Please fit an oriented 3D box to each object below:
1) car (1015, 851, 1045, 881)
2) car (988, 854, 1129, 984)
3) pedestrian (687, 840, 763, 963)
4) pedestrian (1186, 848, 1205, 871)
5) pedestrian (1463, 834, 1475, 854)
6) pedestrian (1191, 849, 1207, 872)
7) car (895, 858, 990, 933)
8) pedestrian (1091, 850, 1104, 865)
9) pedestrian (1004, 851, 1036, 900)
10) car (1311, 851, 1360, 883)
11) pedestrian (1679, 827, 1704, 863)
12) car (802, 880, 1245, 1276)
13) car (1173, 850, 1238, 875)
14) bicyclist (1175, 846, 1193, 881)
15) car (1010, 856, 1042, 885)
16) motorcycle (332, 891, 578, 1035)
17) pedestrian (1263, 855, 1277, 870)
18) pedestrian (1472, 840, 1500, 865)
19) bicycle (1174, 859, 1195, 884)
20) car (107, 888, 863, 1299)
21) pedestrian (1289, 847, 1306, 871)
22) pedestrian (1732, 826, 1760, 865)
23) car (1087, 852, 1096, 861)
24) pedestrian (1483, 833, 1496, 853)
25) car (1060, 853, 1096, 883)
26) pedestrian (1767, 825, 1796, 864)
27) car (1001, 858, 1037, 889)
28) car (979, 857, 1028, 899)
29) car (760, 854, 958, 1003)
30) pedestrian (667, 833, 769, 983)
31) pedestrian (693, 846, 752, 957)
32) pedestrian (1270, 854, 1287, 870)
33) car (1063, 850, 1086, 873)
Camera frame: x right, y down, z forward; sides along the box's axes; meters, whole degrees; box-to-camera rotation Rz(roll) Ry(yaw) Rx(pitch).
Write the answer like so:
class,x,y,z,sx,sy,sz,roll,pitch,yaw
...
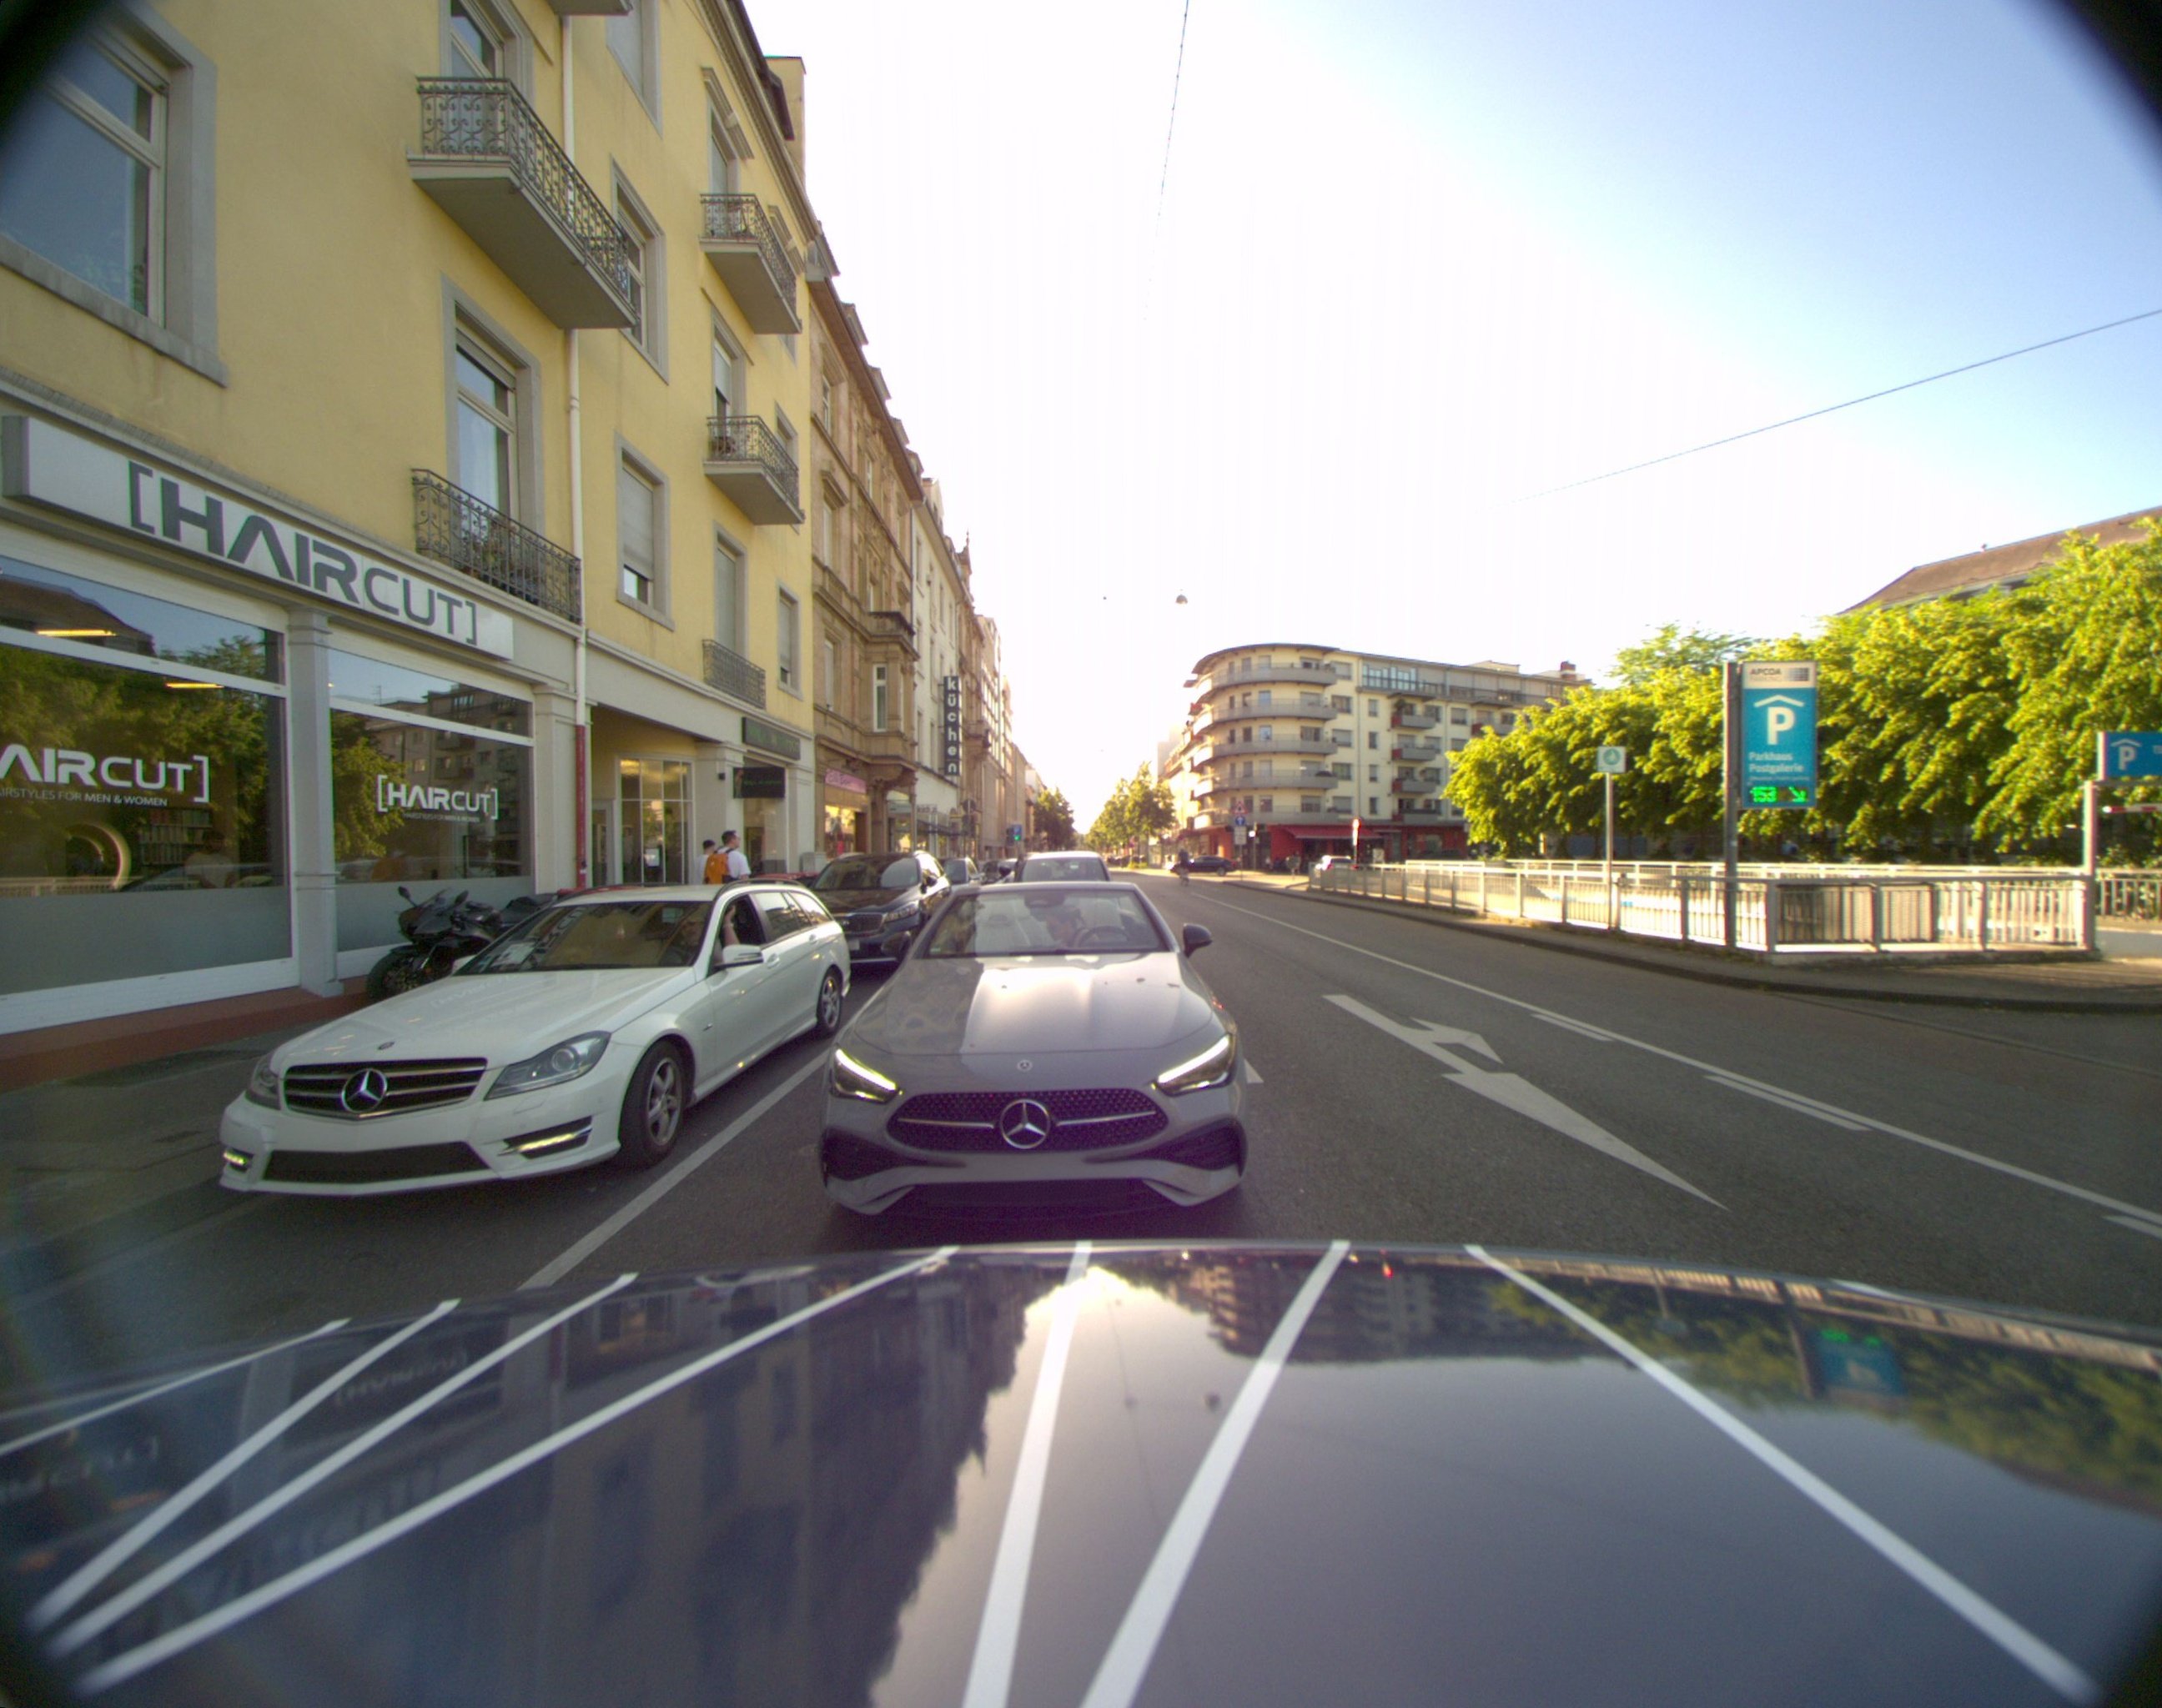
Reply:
class,x,y,z,sx,sy,sz,roll,pitch,yaw
car,-3.158,0.714,47.555,1.695,1.670,3.880,-2,1,-3
car,-0.368,0.893,12.765,1.866,1.658,4.706,-2,1,-2
pedestrian,-5.683,0.729,12.123,0.975,1.866,0.534,-3,1,-31
pedestrian,9.060,0.441,60.104,1.066,1.709,1.083,-1,1,40
pedestrian,36.719,-0.949,71.933,0.685,1.832,0.745,-3,2,-43
pedestrian,9.854,0.525,63.472,0.990,1.908,0.790,-2,1,-12
car,-3.185,0.905,17.997,1.583,1.514,2.998,-2,1,1
pedestrian,2.088,0.405,96.201,1.219,1.826,1.205,-2,1,25
pedestrian,-2.203,0.774,27.718,0.836,1.709,0.821,-2,1,19
car,13.529,0.636,40.522,1.637,1.521,3.909,-2,1,6
pedestrian,31.767,-0.478,39.525,0.748,1.832,0.683,-3,1,-21
car,-0.284,0.997,5.366,1.769,1.360,4.471,-2,1,-2
car,8.632,0.570,52.467,4.242,1.521,1.678,-2,1,14
bicyclist,5.104,0.468,37.521,0.703,1.700,0.809,1,1,-4
car,-2.947,0.864,40.957,1.461,1.391,3.362,-2,1,-1
motorcycle,-6.258,1.023,7.796,0.735,1.124,2.109,2,1,1
pedestrian,14.917,0.662,60.047,0.780,1.191,0.884,-2,1,-10
pedestrian,28.335,-0.107,53.162,1.274,1.656,1.137,-3,1,-30
bicycle,5.084,0.849,37.423,0.618,1.156,1.956,1,1,-3
car,-3.029,1.072,5.254,1.672,1.364,4.377,-2,1,1
pedestrian,16.486,0.385,57.844,0.960,1.739,1.063,-2,1,26
pedestrian,32.218,-0.394,36.808,0.748,1.852,0.683,-2,1,-13
car,2.252,0.566,163.874,1.836,1.831,3.886,1,1,-2
pedestrian,38.359,-1.006,71.336,0.747,1.832,0.684,-2,1,1
car,-0.190,0.714,40.690,1.695,1.437,3.575,-2,1,-3
pedestrian,33.602,-0.433,36.435,0.748,1.832,0.683,-2,1,-13
car,-2.959,0.898,36.688,1.461,1.310,3.362,-2,1,-1
car,-3.030,0.901,30.320,1.695,1.482,3.796,-2,1,-3
car,-3.016,0.889,11.346,1.806,1.680,4.408,-2,1,-3
pedestrian,-4.658,0.656,9.820,0.811,1.812,0.982,-2,2,-5
pedestrian,-6.152,0.794,13.067,0.630,1.826,0.770,-2,1,-7
pedestrian,15.423,0.650,59.389,0.937,1.191,0.832,-3,1,-24
car,-0.497,0.557,59.611,1.695,1.635,3.599,-2,1,-1
